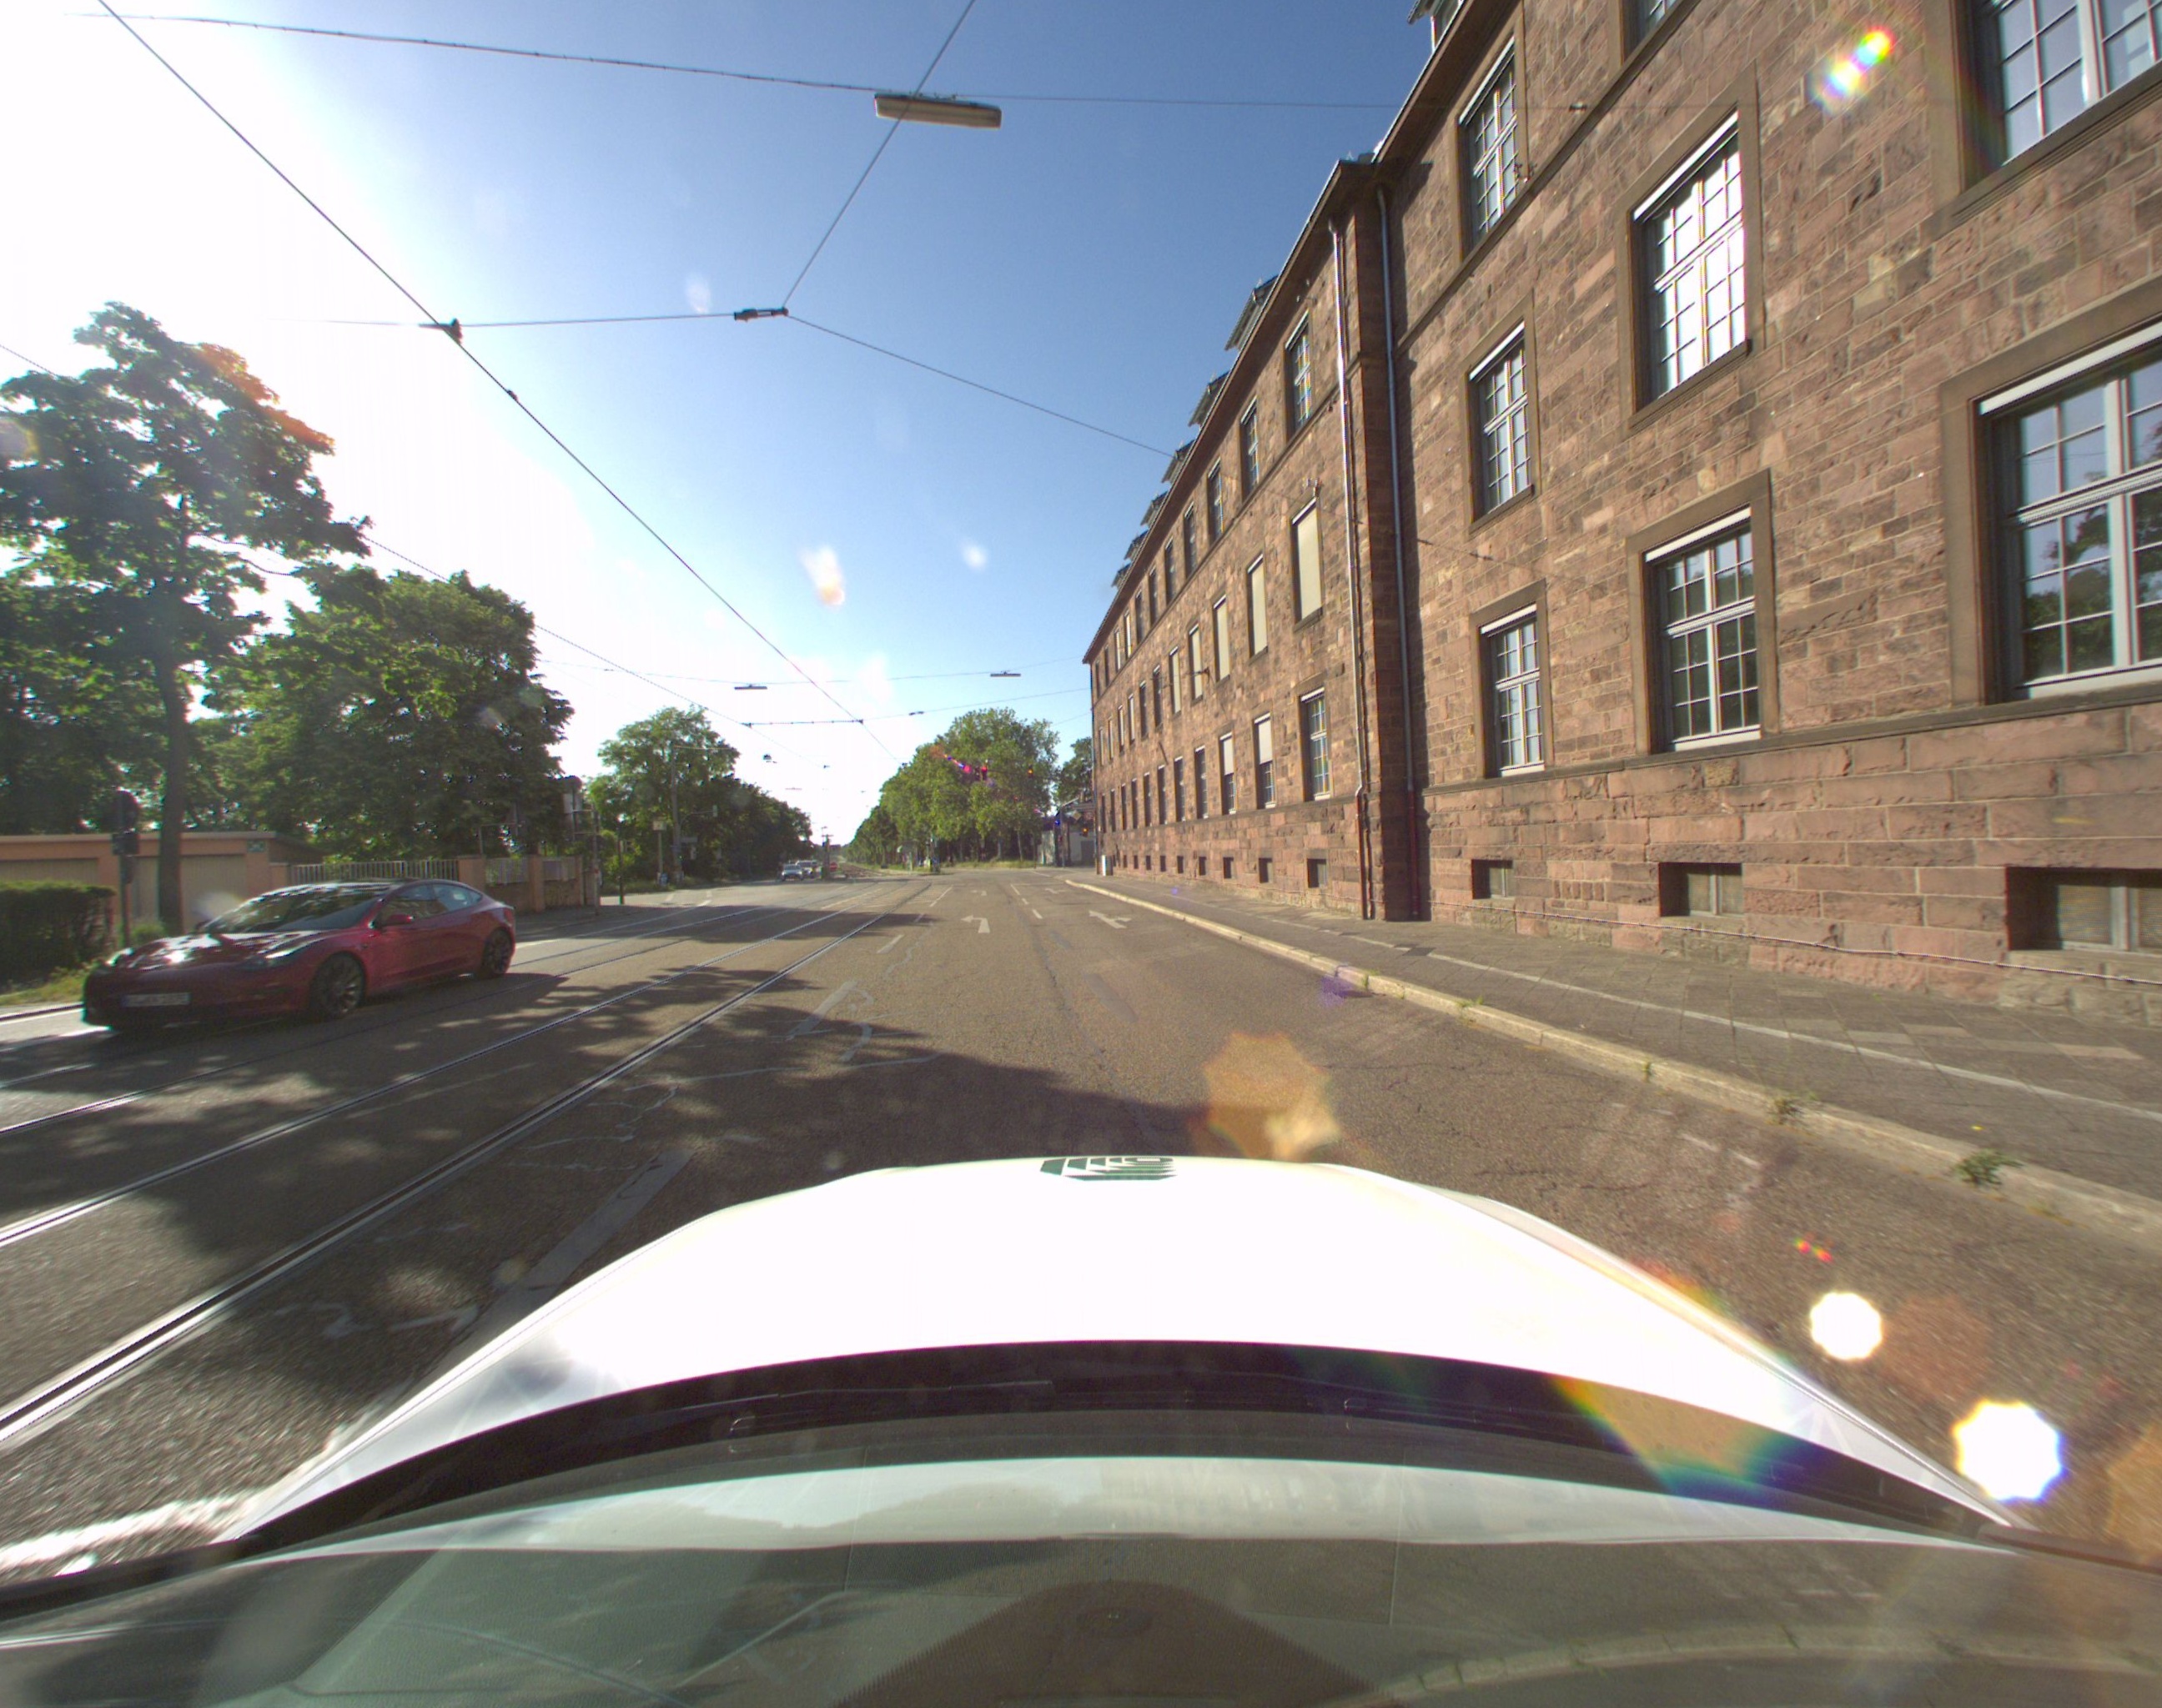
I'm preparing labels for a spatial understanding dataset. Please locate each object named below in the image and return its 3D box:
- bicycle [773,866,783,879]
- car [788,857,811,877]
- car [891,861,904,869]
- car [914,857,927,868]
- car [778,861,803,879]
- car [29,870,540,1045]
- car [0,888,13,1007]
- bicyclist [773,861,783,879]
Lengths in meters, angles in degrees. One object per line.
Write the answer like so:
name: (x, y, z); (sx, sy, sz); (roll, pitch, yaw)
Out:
bicycle: (-25.381, 1.551, 68.213); (0.752, 1.087, 2.161); (-2, 0, -22)
car: (-26.948, 1.205, 77.933); (2.001, 1.760, 3.972); (-2, 0, -20)
car: (-42.618, 2.545, 189.041); (1.954, 1.610, 3.964); (-2, 0, -28)
car: (-25.435, 1.282, 128.900); (1.944, 1.610, 3.983); (-2, 0, -12)
car: (-25.548, 1.401, 71.639); (2.001, 1.504, 3.972); (-2, 0, -20)
car: (-8.756, 0.975, 9.741); (1.920, 1.387, 4.673); (-2, 0, -8)
car: (-14.032, 1.177, 8.433); (1.582, 1.488, 3.599); (0, 0, -11)
bicyclist: (-25.365, 1.337, 68.168); (0.752, 1.504, 0.957); (-2, 0, -22)
